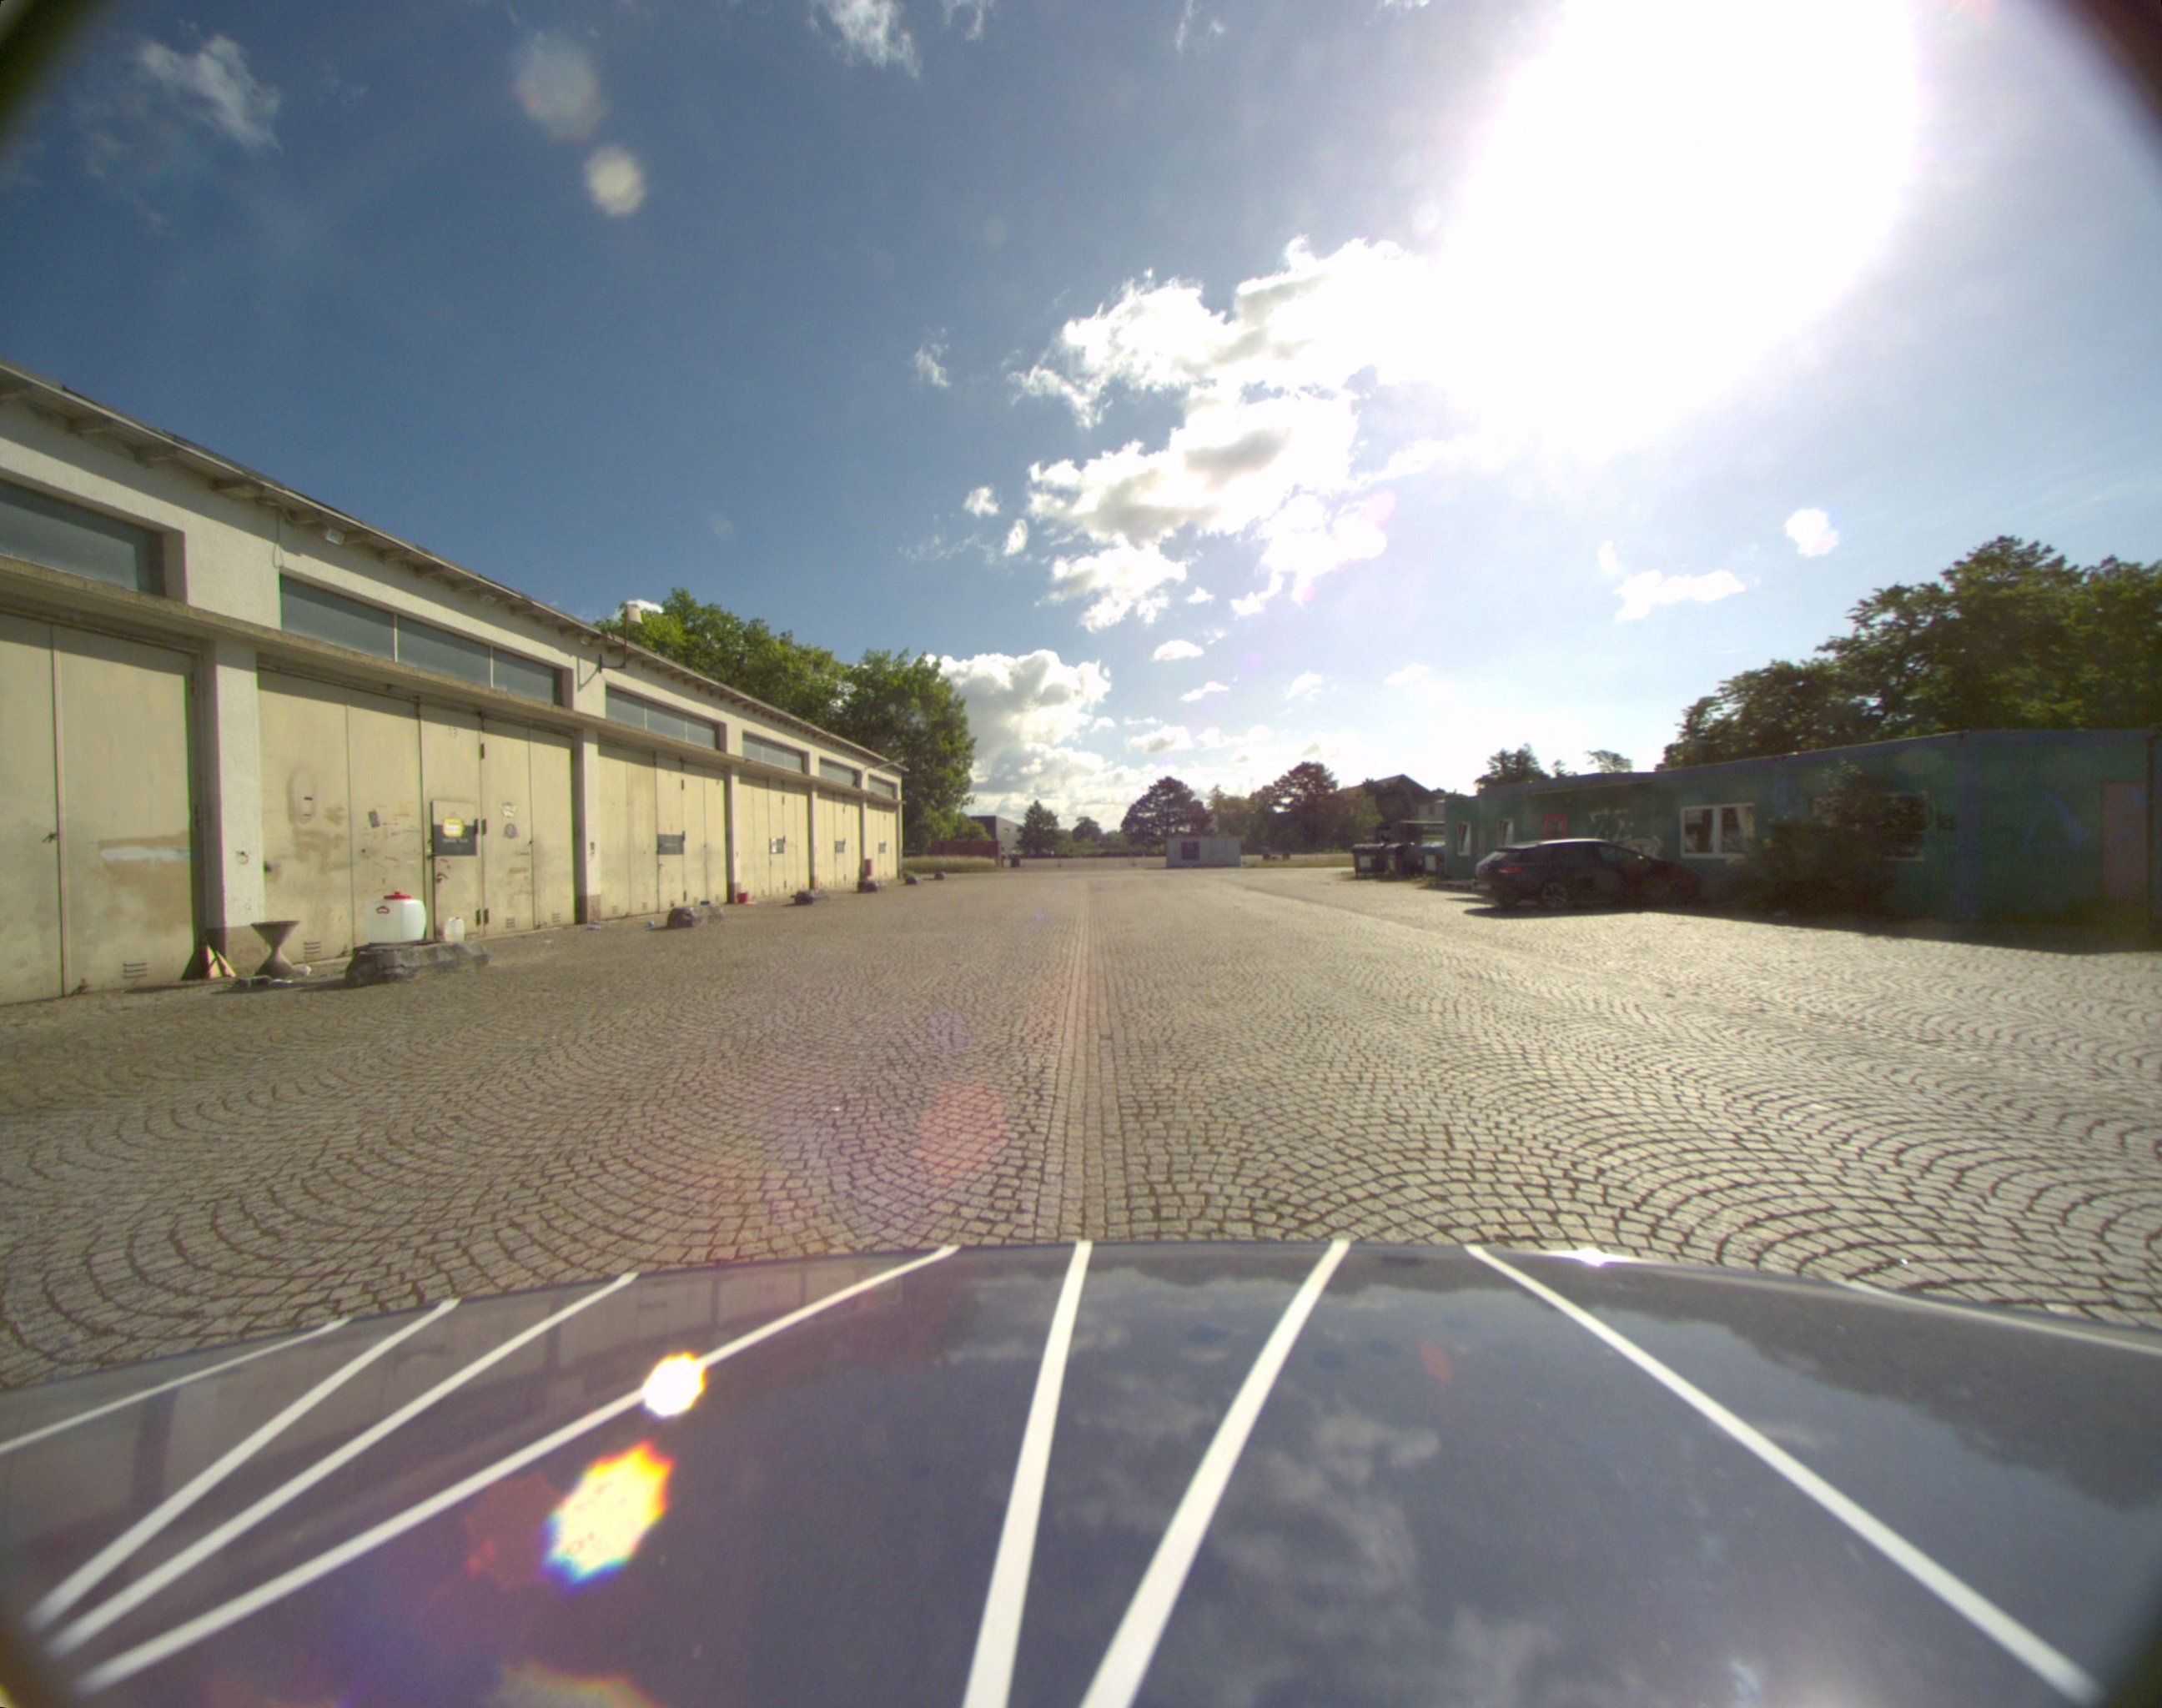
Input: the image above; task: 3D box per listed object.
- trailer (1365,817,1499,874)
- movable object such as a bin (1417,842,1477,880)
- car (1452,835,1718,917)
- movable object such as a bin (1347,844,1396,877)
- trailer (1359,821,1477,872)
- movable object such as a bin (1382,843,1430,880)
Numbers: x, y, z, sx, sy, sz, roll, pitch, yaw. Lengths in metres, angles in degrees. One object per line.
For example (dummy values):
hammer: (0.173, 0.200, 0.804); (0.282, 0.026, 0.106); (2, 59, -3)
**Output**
trailer: (15.493, -0.374, 33.724); (4.973, 2.341, 2.095); (-1, 1, -3)
movable object such as a bin: (13.901, 0.237, 28.908); (1.386, 1.378, 1.534); (-1, 1, -11)
car: (10.711, 0.434, 16.376); (4.426, 1.456, 1.999); (-2, 1, -2)
movable object such as a bin: (12.513, 0.266, 32.716); (1.389, 1.378, 1.531); (-2, 1, -43)
trailer: (15.991, -0.358, 36.203); (4.666, 2.285, 2.137); (-1, 1, 2)
movable object such as a bin: (13.034, 0.271, 30.567); (1.299, 1.414, 1.536); (-1, 1, 2)
